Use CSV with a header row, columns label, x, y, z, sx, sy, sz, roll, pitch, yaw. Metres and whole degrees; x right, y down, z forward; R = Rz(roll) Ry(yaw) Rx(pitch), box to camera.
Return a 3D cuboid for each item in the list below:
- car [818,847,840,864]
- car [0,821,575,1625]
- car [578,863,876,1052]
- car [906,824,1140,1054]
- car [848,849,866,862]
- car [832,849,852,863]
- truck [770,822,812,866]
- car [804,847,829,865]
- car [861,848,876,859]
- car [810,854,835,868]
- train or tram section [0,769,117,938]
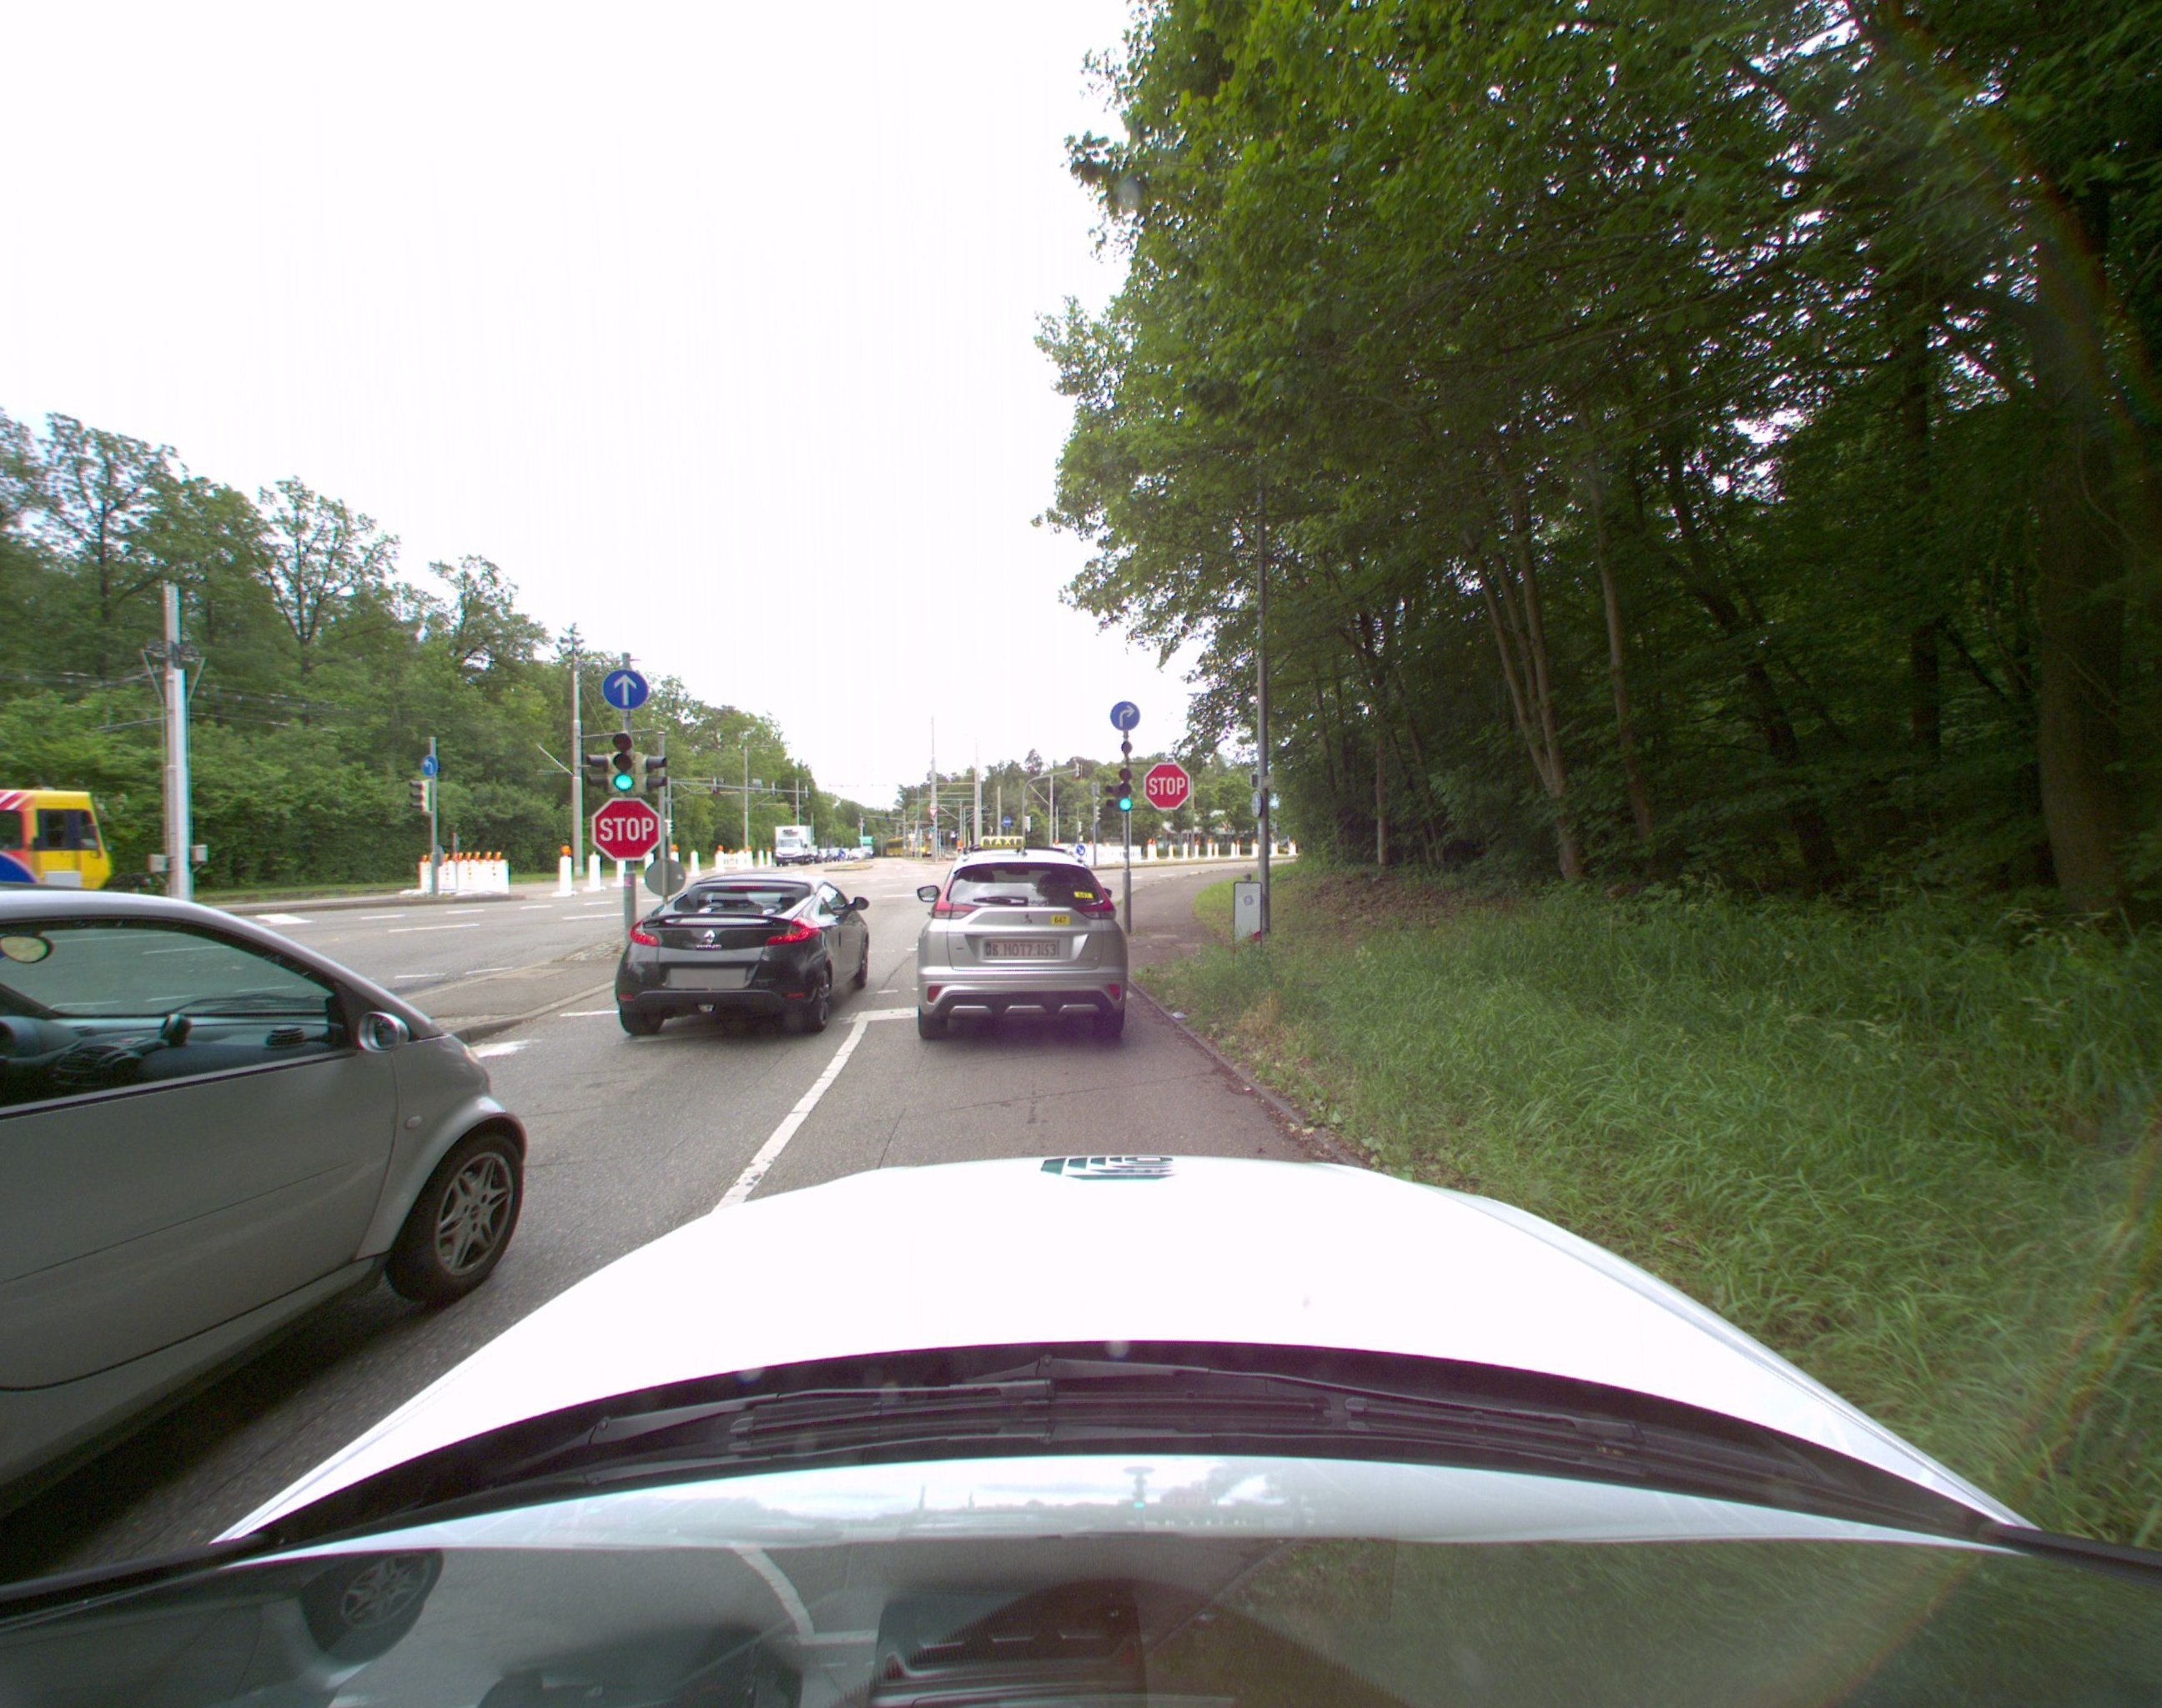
label,x,y,z,sx,sy,sz,roll,pitch,yaw
car,-29.019,0.132,94.031,1.963,1.845,4.671,-1,1,-12
car,-2.902,0.743,2.151,1.454,1.586,2.725,-2,0,-3
car,-3.221,0.830,8.179,1.772,1.361,3.468,-2,0,-7
car,-0.588,0.647,8.144,1.771,1.748,3.774,1,0,-5
car,-29.456,0.166,107.305,1.963,1.541,4.378,-1,1,-12
car,-29.788,0.227,101.587,1.963,1.607,4.293,-1,1,-12
truck,-23.185,-0.769,65.423,2.453,3.224,7.120,-2,0,-15
car,-25.887,0.177,79.785,1.964,1.750,4.823,-1,1,-14
car,-31.463,-0.088,120.686,1.963,1.540,4.293,-1,1,-12
car,-27.504,0.750,86.755,1.963,1.361,4.671,-1,1,-12
train or tram section,-35.042,-0.042,17.248,2.918,4.651,18.663,-1,-1,36
